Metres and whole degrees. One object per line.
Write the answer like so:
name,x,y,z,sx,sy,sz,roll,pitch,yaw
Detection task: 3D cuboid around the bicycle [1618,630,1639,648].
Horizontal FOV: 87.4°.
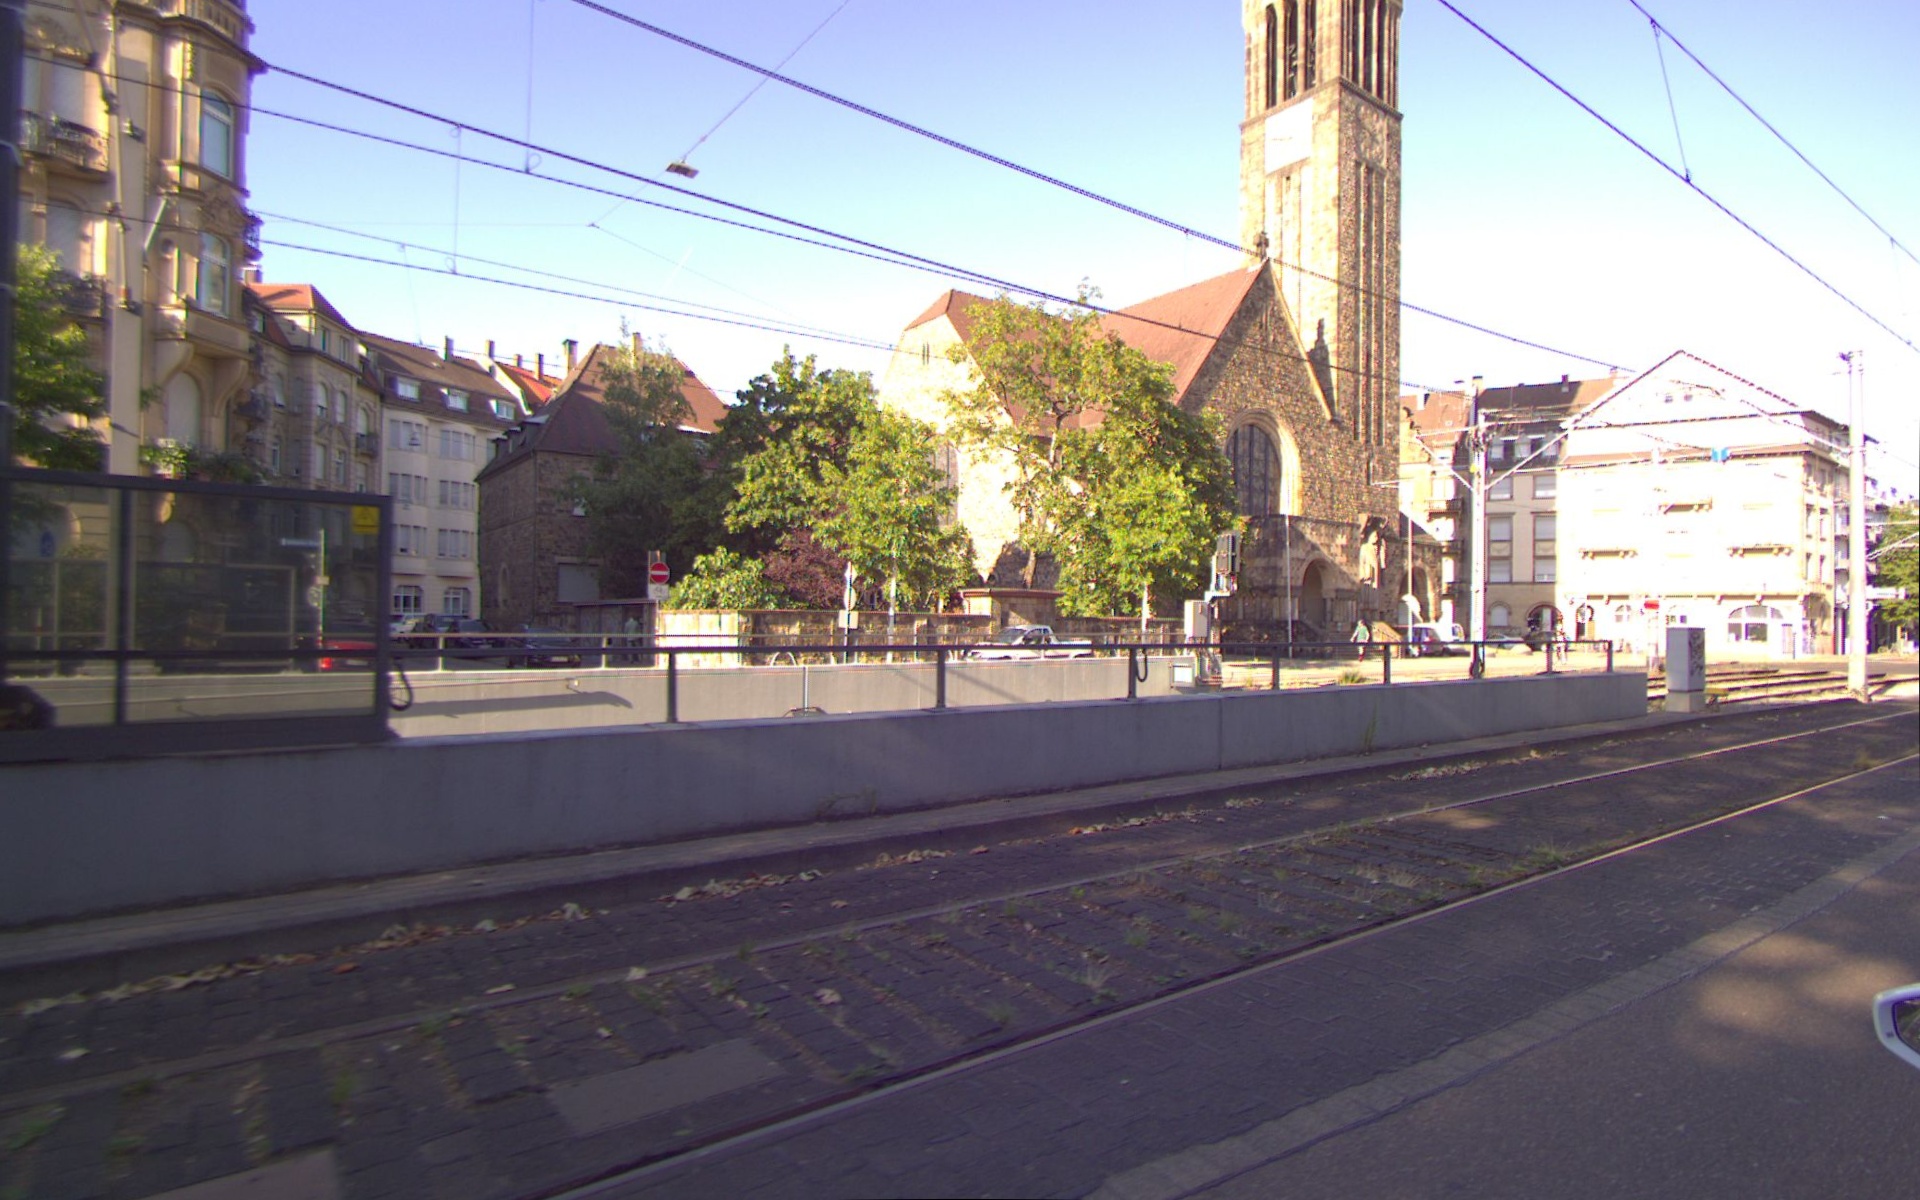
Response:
bicycle,52.507,3.058,78.881,0.813,1.300,2.548,3,1,45

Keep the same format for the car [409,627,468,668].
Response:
car,-24.810,2.207,47.714,1.803,1.821,3.957,1,-2,-37

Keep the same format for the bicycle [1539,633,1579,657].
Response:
bicycle,29.143,2.196,48.868,2.252,1.159,0.628,1,-3,-30

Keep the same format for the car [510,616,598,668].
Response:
car,-13.924,1.396,34.345,1.803,1.673,3.957,1,-2,-37

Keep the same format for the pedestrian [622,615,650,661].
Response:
pedestrian,-11.848,1.376,36.686,0.920,1.609,0.744,2,1,-20

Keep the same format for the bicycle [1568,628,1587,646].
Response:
bicycle,49.373,2.920,80.309,0.808,1.300,2.563,2,1,22

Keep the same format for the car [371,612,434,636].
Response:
car,-35.899,1.548,64.830,1.783,1.508,4.001,0,-1,1

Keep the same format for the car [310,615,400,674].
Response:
car,-17.680,1.244,29.289,1.803,1.589,3.957,1,-2,-37

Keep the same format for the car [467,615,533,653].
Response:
car,-20.239,1.482,44.104,1.803,1.589,3.957,1,-2,-37

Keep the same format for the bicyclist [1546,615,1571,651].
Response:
bicyclist,29.140,1.601,48.894,0.905,1.745,0.629,1,-3,-30

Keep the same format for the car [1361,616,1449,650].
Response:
car,24.314,1.781,55.006,1.875,1.651,3.962,1,1,-34

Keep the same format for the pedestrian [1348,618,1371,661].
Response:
pedestrian,18.238,1.797,45.840,0.749,1.913,0.601,1,1,-34

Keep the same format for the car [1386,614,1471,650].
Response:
car,26.487,1.810,56.876,1.875,1.780,3.962,1,1,-34

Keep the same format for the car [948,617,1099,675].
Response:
car,1.961,1.365,30.499,4.465,1.576,1.704,1,1,-35

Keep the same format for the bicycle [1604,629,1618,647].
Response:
bicycle,51.227,3.008,79.076,0.810,1.300,2.557,3,1,34

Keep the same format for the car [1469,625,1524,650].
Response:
car,44.424,3.098,83.273,1.961,1.776,4.596,2,1,-2
